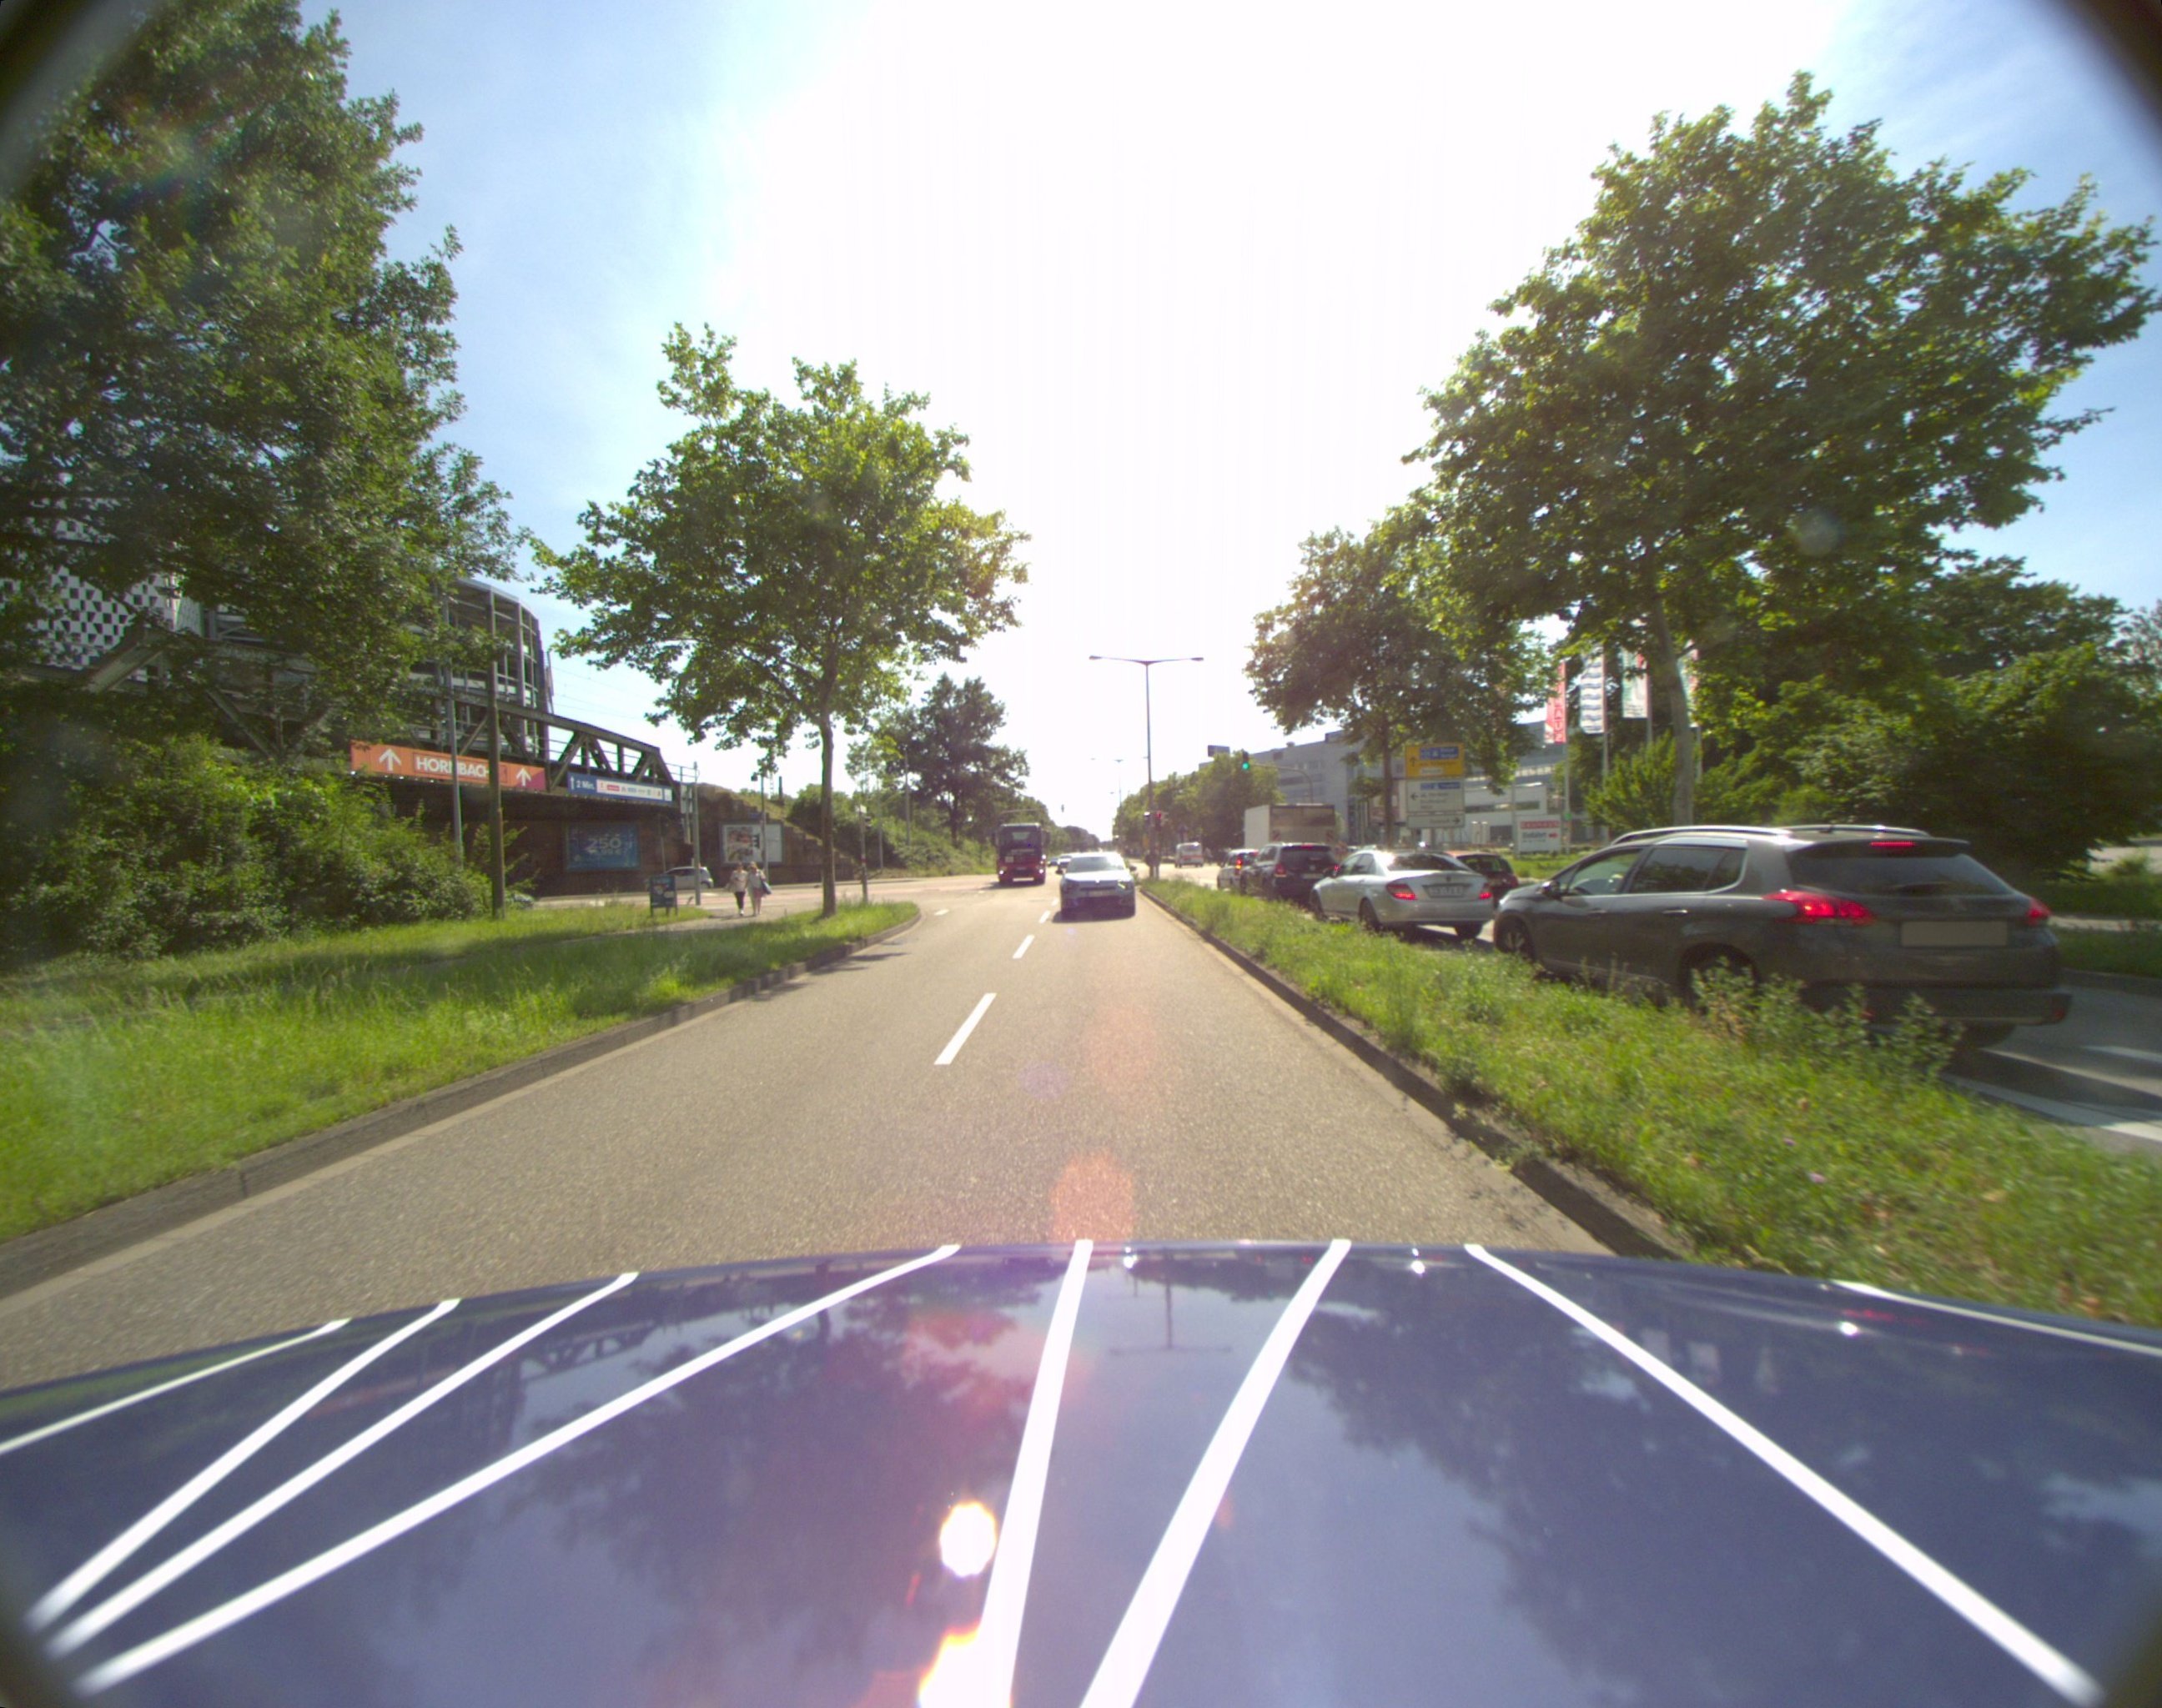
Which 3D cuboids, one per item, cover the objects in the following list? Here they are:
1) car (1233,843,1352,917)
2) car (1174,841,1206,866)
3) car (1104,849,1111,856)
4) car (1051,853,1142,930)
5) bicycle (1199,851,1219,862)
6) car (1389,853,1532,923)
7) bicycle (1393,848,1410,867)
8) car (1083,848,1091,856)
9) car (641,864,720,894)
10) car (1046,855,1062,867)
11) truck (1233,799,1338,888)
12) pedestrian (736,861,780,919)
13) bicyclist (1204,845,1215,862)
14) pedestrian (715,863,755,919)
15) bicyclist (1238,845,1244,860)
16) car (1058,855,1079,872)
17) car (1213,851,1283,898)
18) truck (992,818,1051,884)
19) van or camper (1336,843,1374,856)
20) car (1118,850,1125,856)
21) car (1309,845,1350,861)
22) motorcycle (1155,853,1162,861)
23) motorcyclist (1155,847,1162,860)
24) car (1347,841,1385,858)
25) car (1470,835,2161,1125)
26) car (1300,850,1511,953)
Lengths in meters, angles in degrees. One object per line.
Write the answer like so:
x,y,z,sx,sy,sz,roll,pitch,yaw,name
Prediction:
5.313,0.562,19.731,1.824,1.637,4.693,-1,1,1,car
9.058,-0.027,63.653,1.981,1.988,5.031,0,0,1,car
7.525,-0.366,214.592,1.998,2.002,4.000,-2,0,1,car
0.402,0.787,18.179,1.826,1.521,4.752,-2,0,2,car
13.274,0.297,78.699,2.168,1.058,0.524,-2,1,-29,bicycle
8.592,0.698,17.556,1.568,1.444,3.544,0,0,1,car
18.287,0.173,43.379,0.595,1.031,1.897,-2,1,15,bicycle
1.647,-0.455,193.928,1.998,2.002,4.000,-2,0,1,car
-22.143,1.355,42.064,3.684,1.429,1.702,-2,1,-32,car
-3.647,0.935,104.358,1.826,1.521,4.548,-2,0,2,car
8.675,-0.409,33.030,2.811,3.451,6.691,0,0,0,truck
-9.393,1.036,22.132,0.870,1.602,0.777,-2,1,0,pedestrian
13.345,-0.060,78.744,0.769,1.778,0.704,-2,1,-29,bicyclist
-10.212,1.077,22.444,0.731,1.570,0.777,-2,1,0,pedestrian
15.434,-0.152,73.274,0.528,1.483,0.609,-2,1,8,bicyclist
-1.226,0.933,76.485,1.826,1.521,4.548,-2,0,2,car
5.641,0.634,26.019,1.597,1.468,3.729,-1,0,1,car
-3.152,-0.161,42.025,2.776,3.248,7.481,-2,0,-2,truck
38.089,-0.663,105.728,2.003,1.682,4.501,-2,0,-37,van or camper
10.031,-0.252,189.237,1.653,1.505,3.736,-2,0,1,car
25.120,-0.087,76.843,4.007,1.441,1.842,-2,0,-35,car
9.181,0.338,90.085,0.689,0.985,2.217,-2,0,1,motorcycle
9.160,-0.028,90.136,0.745,1.462,0.987,-2,1,1,motorcyclist
30.370,-0.515,80.951,4.007,1.689,1.995,-2,0,-41,car
5.153,0.691,6.311,1.693,1.577,4.240,-1,0,1,car
5.338,0.679,13.238,1.801,1.459,4.522,-1,0,1,car
